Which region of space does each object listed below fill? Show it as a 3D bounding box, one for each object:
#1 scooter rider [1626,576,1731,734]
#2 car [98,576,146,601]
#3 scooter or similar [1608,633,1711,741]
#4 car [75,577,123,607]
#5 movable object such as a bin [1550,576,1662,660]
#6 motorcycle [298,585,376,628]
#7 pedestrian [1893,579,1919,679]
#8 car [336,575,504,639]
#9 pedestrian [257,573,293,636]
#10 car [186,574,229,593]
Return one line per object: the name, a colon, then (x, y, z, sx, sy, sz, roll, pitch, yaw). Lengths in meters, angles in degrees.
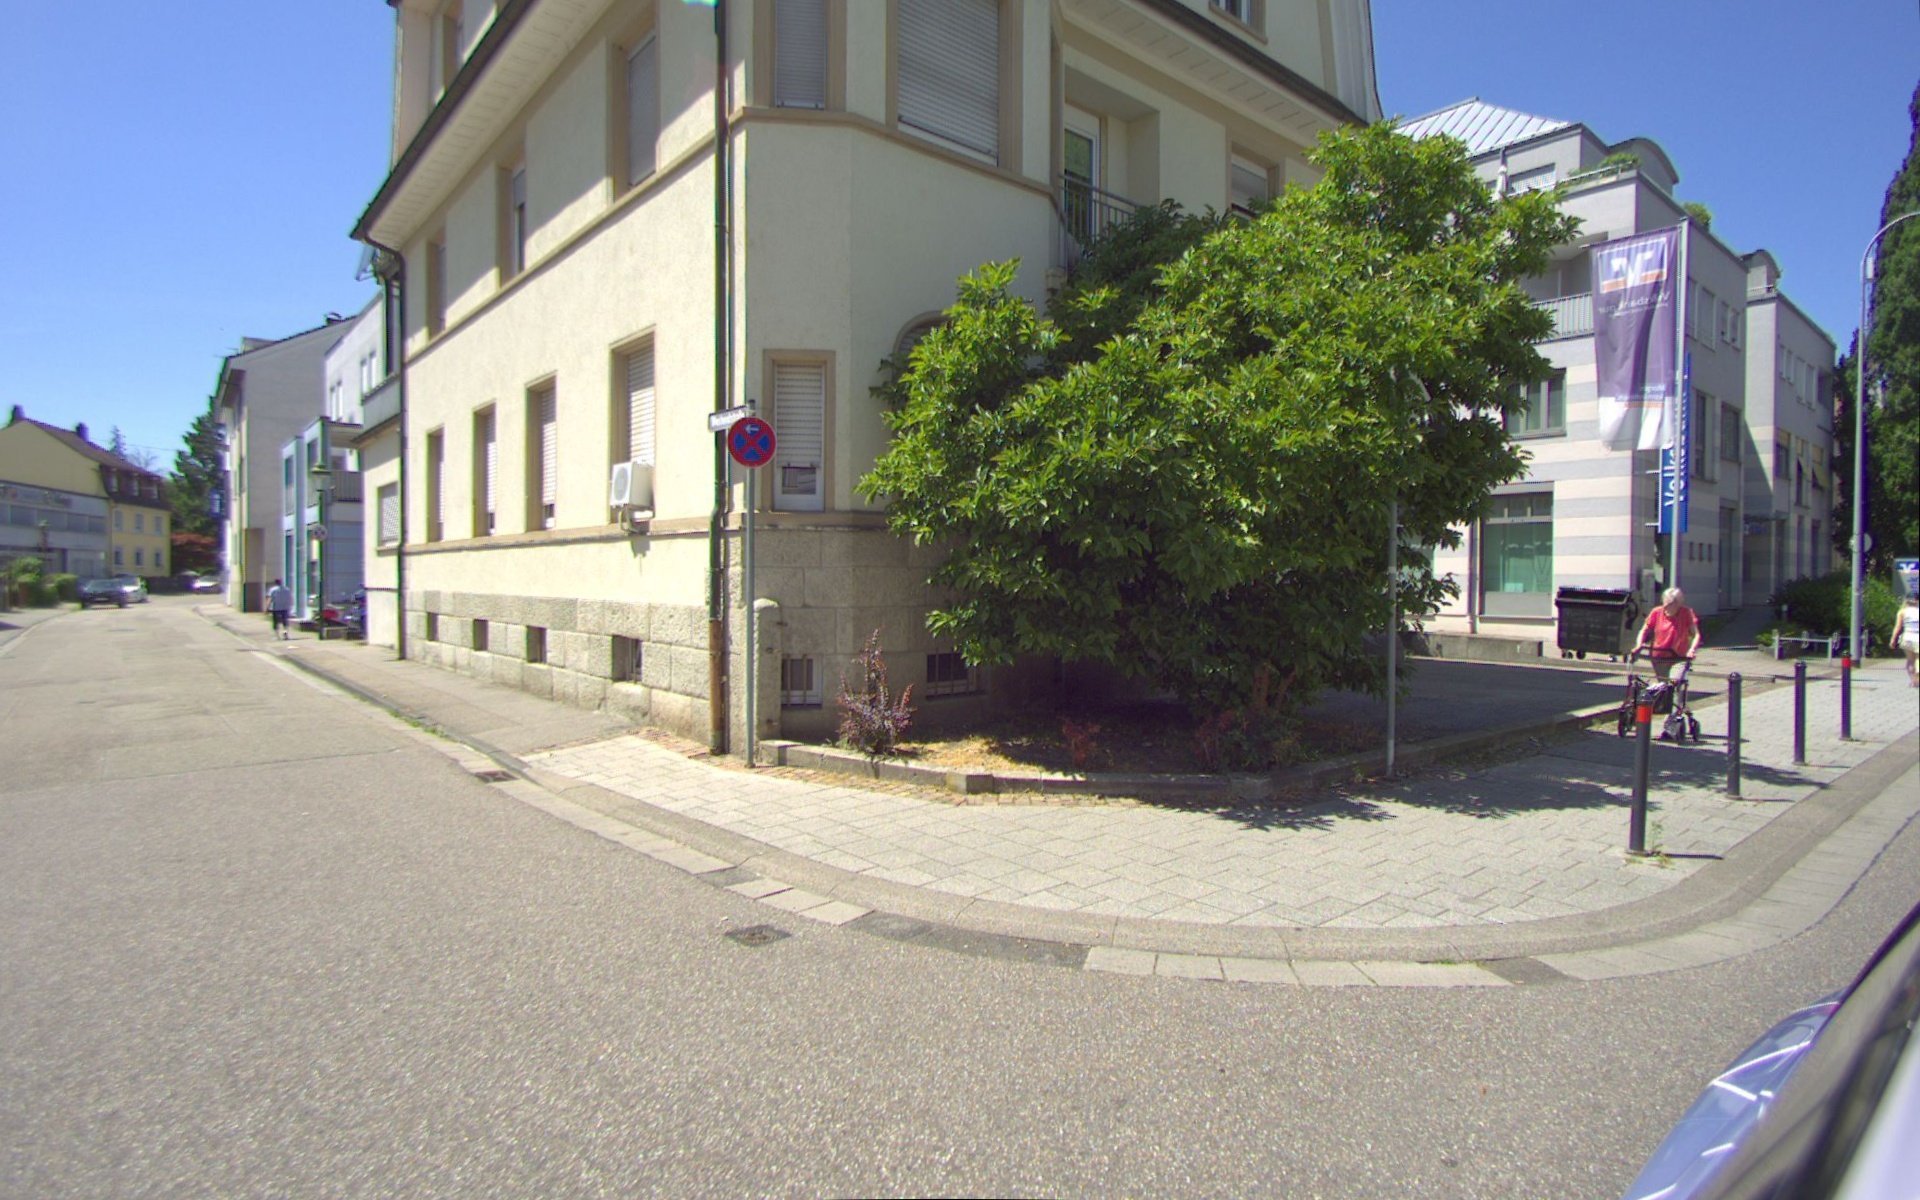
scooter rider: (7.553, 0.544, 10.636, 0.757, 1.568, 0.717, 0, 1, -42)
car: (-52.033, -0.735, 62.916, 1.819, 1.518, 4.072, 0, 1, -33)
scooter or similar: (7.053, 0.852, 10.210, 0.740, 0.975, 0.665, 0, 2, -41)
car: (-46.246, -0.435, 54.412, 1.789, 1.518, 3.885, 0, 1, -38)
movable object such as a bin: (12.374, 0.310, 19.398, 1.355, 1.476, 1.372, 0, 4, -38)
motorcycle: (-18.360, 0.185, 29.842, 0.734, 1.174, 1.776, -2, 1, 44)
pedestrian: (16.188, 0.484, 16.924, 0.770, 1.646, 0.701, 0, 4, -41)
car: (-13.540, 0.178, 25.504, 1.608, 1.495, 3.381, -2, -1, 37)
pedestrian: (-18.166, 0.111, 26.838, 0.705, 1.647, 0.684, 0, 0, -40)
car: (-62.269, -1.395, 83.798, 1.958, 1.518, 4.595, 0, 1, -25)
